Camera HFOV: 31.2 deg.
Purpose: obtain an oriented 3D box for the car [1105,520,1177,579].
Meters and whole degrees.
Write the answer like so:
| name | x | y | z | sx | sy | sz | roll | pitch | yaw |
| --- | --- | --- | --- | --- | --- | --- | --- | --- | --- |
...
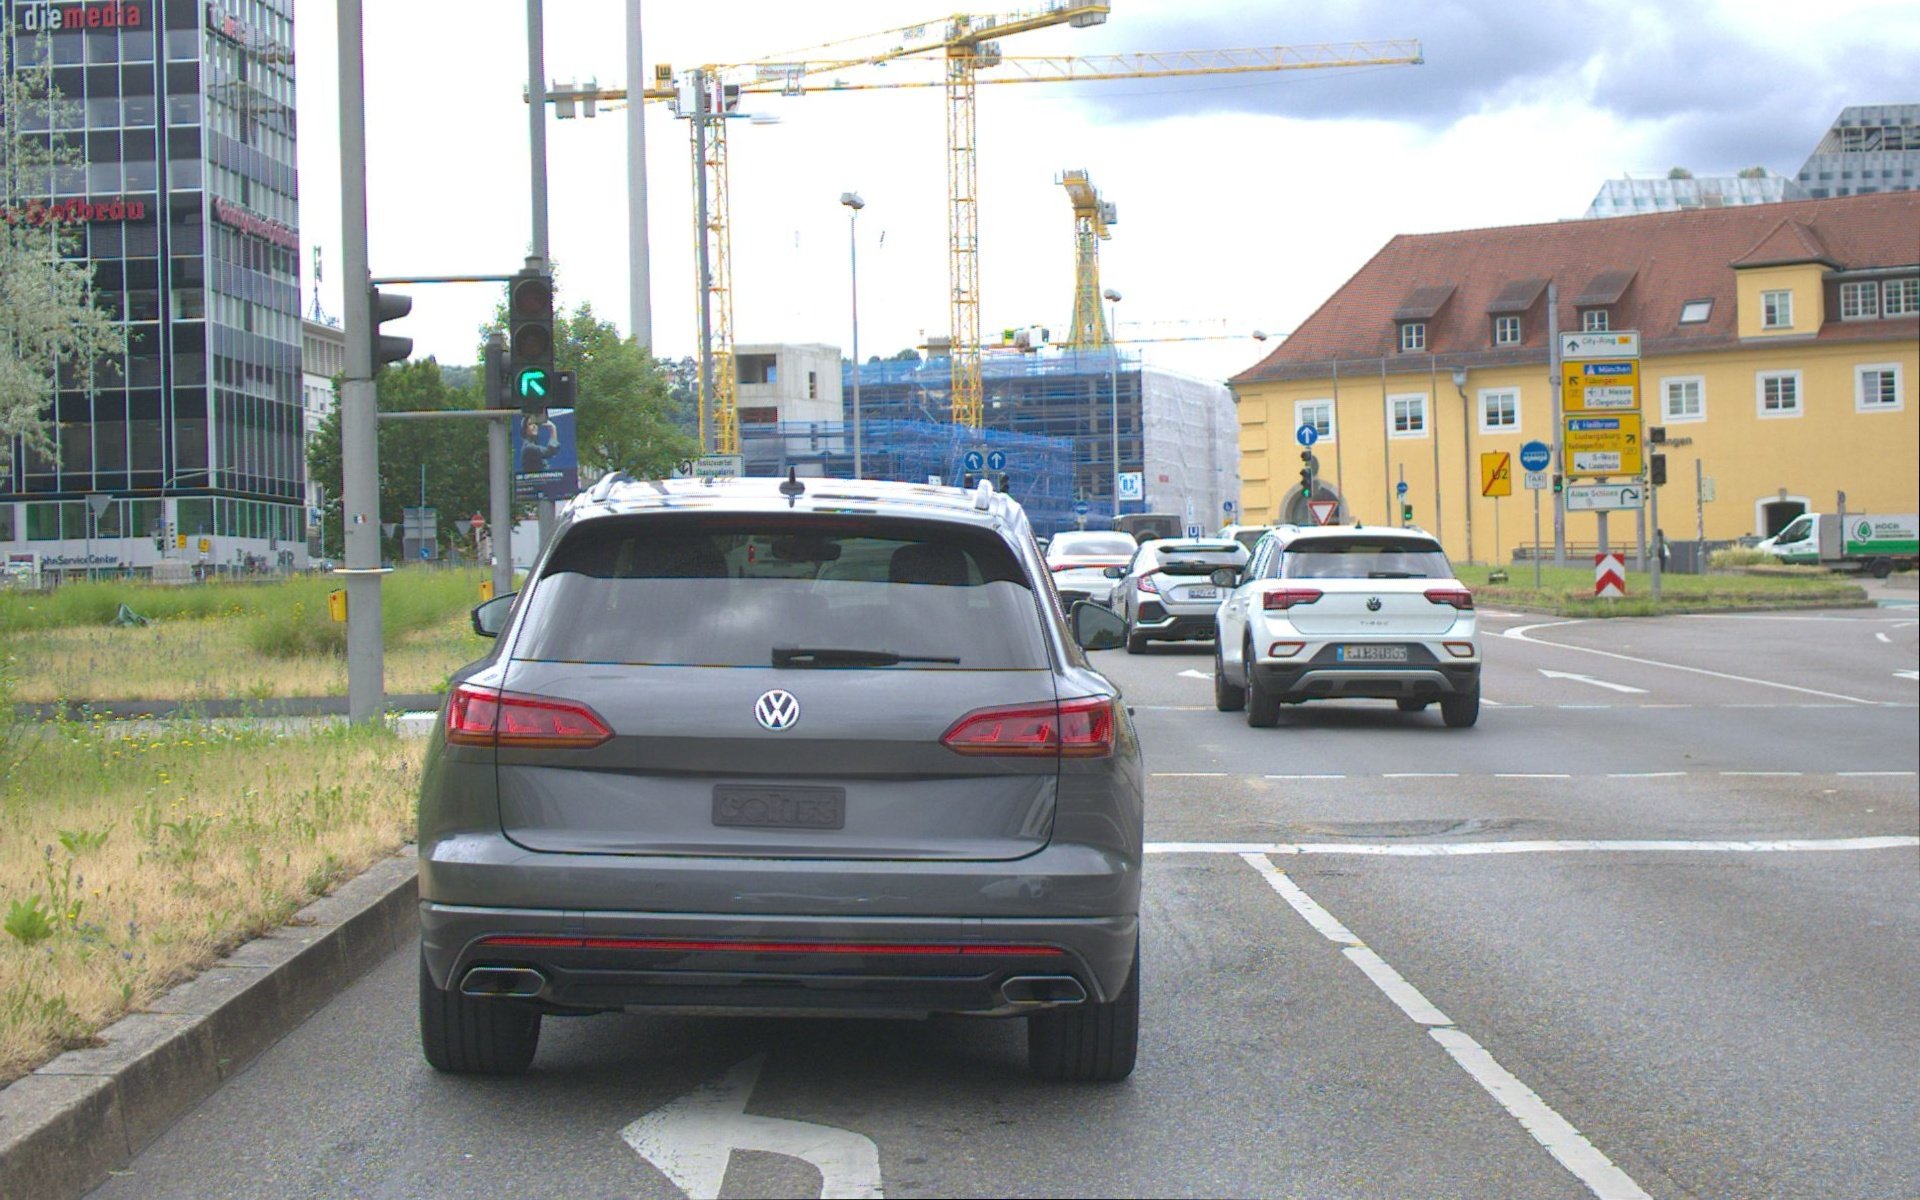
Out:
| name | x | y | z | sx | sy | sz | roll | pitch | yaw |
| --- | --- | --- | --- | --- | --- | --- | --- | --- | --- |
| car | 4.734 | -1.351 | 90.440 | 1.719 | 1.497 | 3.981 | 0 | 1 | 1 |

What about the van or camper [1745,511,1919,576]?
| name | x | y | z | sx | sy | sz | roll | pitch | yaw |
| --- | --- | --- | --- | --- | --- | --- | --- | --- | --- |
| van or camper | 28.446 | -1.797 | 110.331 | 6.017 | 2.007 | 2.015 | 0 | 1 | 35 |

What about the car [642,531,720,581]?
| name | x | y | z | sx | sy | sz | roll | pitch | yaw |
| --- | --- | --- | --- | --- | --- | --- | --- | --- | --- |
| car | -8.627 | -1.359 | 106.093 | 1.718 | 1.497 | 3.982 | 0 | 1 | -15 |

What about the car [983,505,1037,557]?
| name | x | y | z | sx | sy | sz | roll | pitch | yaw |
| --- | --- | --- | --- | --- | --- | --- | --- | --- | --- |
| car | 1.938 | -2.731 | 135.281 | 1.993 | 2.007 | 4.000 | 0 | 1 | -1 |

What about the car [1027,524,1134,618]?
| name | x | y | z | sx | sy | sz | roll | pitch | yaw |
| --- | --- | --- | --- | --- | --- | --- | --- | --- | --- |
| car | 2.041 | -0.513 | 57.711 | 1.719 | 1.497 | 3.981 | 0 | 1 | 3 |

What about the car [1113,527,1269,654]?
| name | x | y | z | sx | sy | sz | roll | pitch | yaw |
| --- | --- | --- | --- | --- | --- | --- | --- | --- | --- |
| car | 2.855 | -0.161 | 43.249 | 1.719 | 1.497 | 4.144 | 0 | 1 | 1 |

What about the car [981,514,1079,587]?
| name | x | y | z | sx | sy | sz | roll | pitch | yaw |
| --- | --- | --- | --- | --- | --- | --- | --- | --- | --- |
| car | 1.505 | -1.104 | 75.423 | 1.814 | 1.491 | 3.907 | -2 | 2 | -3 |

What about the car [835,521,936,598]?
| name | x | y | z | sx | sy | sz | roll | pitch | yaw |
| --- | --- | --- | --- | --- | --- | --- | --- | --- | --- |
| car | -1.540 | -0.841 | 69.695 | 1.814 | 1.491 | 3.907 | 0 | 1 | -5 |

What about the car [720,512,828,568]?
| name | x | y | z | sx | sy | sz | roll | pitch | yaw |
| --- | --- | --- | --- | --- | --- | --- | --- | --- | --- |
| car | -5.172 | -1.669 | 95.098 | 2.244 | 1.497 | 4.613 | -1 | 1 | -13 |

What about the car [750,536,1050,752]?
| name | x | y | z | sx | sy | sz | roll | pitch | yaw |
| --- | --- | --- | --- | --- | --- | --- | --- | --- | --- |
| car | -0.430 | 0.255 | 25.008 | 1.993 | 1.382 | 4.001 | -1 | 2 | -1 |

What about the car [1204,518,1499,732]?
| name | x | y | z | sx | sy | sz | roll | pitch | yaw |
| --- | --- | --- | --- | --- | --- | --- | --- | --- | --- |
| car | 3.055 | 0.141 | 27.523 | 1.893 | 1.580 | 3.801 | 0 | 1 | 0 |

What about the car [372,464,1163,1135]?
| name | x | y | z | sx | sy | sz | roll | pitch | yaw |
| --- | --- | --- | --- | --- | --- | --- | --- | --- | --- |
| car | -0.497 | 0.443 | 10.448 | 1.933 | 1.641 | 4.000 | 0 | 1 | -1 |

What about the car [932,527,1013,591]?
| name | x | y | z | sx | sy | sz | roll | pitch | yaw |
| --- | --- | --- | --- | --- | --- | --- | --- | --- | --- |
| car | 0.328 | -1.142 | 94.965 | 2.139 | 1.722 | 4.070 | -1 | 1 | -1 |

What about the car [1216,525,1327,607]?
| name | x | y | z | sx | sy | sz | roll | pitch | yaw |
| --- | --- | --- | --- | --- | --- | --- | --- | --- | --- |
| car | 5.951 | -0.677 | 66.125 | 1.803 | 1.497 | 3.981 | 0 | 1 | 1 |
